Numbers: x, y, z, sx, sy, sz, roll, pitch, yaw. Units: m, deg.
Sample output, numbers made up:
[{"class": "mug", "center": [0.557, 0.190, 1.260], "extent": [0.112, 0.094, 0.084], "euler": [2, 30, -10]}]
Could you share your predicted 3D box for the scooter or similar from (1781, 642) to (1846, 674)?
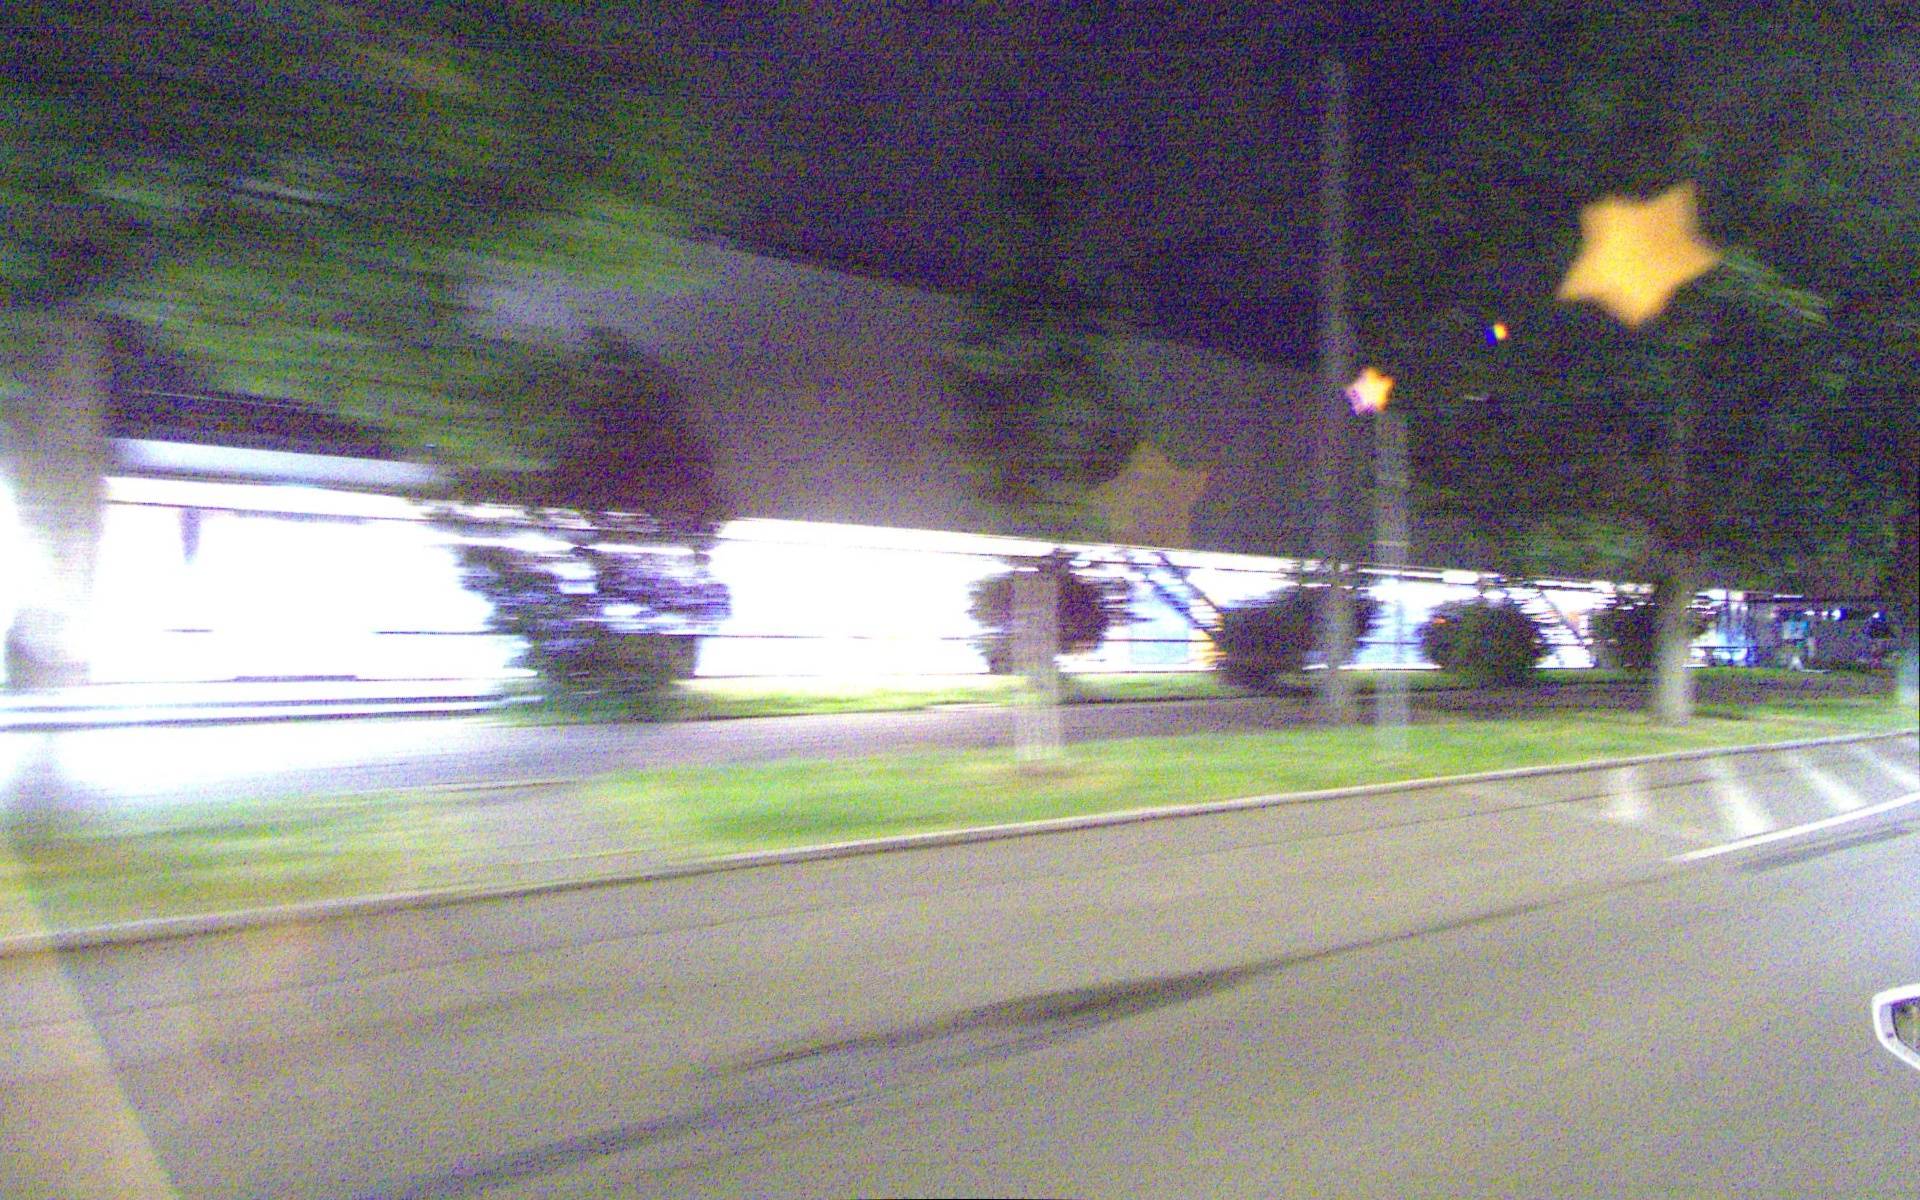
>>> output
[{"class": "scooter or similar", "center": [30.503, 2.073, 35.911], "extent": [0.537, 1.021, 1.667], "euler": [1, 1, -27]}]
